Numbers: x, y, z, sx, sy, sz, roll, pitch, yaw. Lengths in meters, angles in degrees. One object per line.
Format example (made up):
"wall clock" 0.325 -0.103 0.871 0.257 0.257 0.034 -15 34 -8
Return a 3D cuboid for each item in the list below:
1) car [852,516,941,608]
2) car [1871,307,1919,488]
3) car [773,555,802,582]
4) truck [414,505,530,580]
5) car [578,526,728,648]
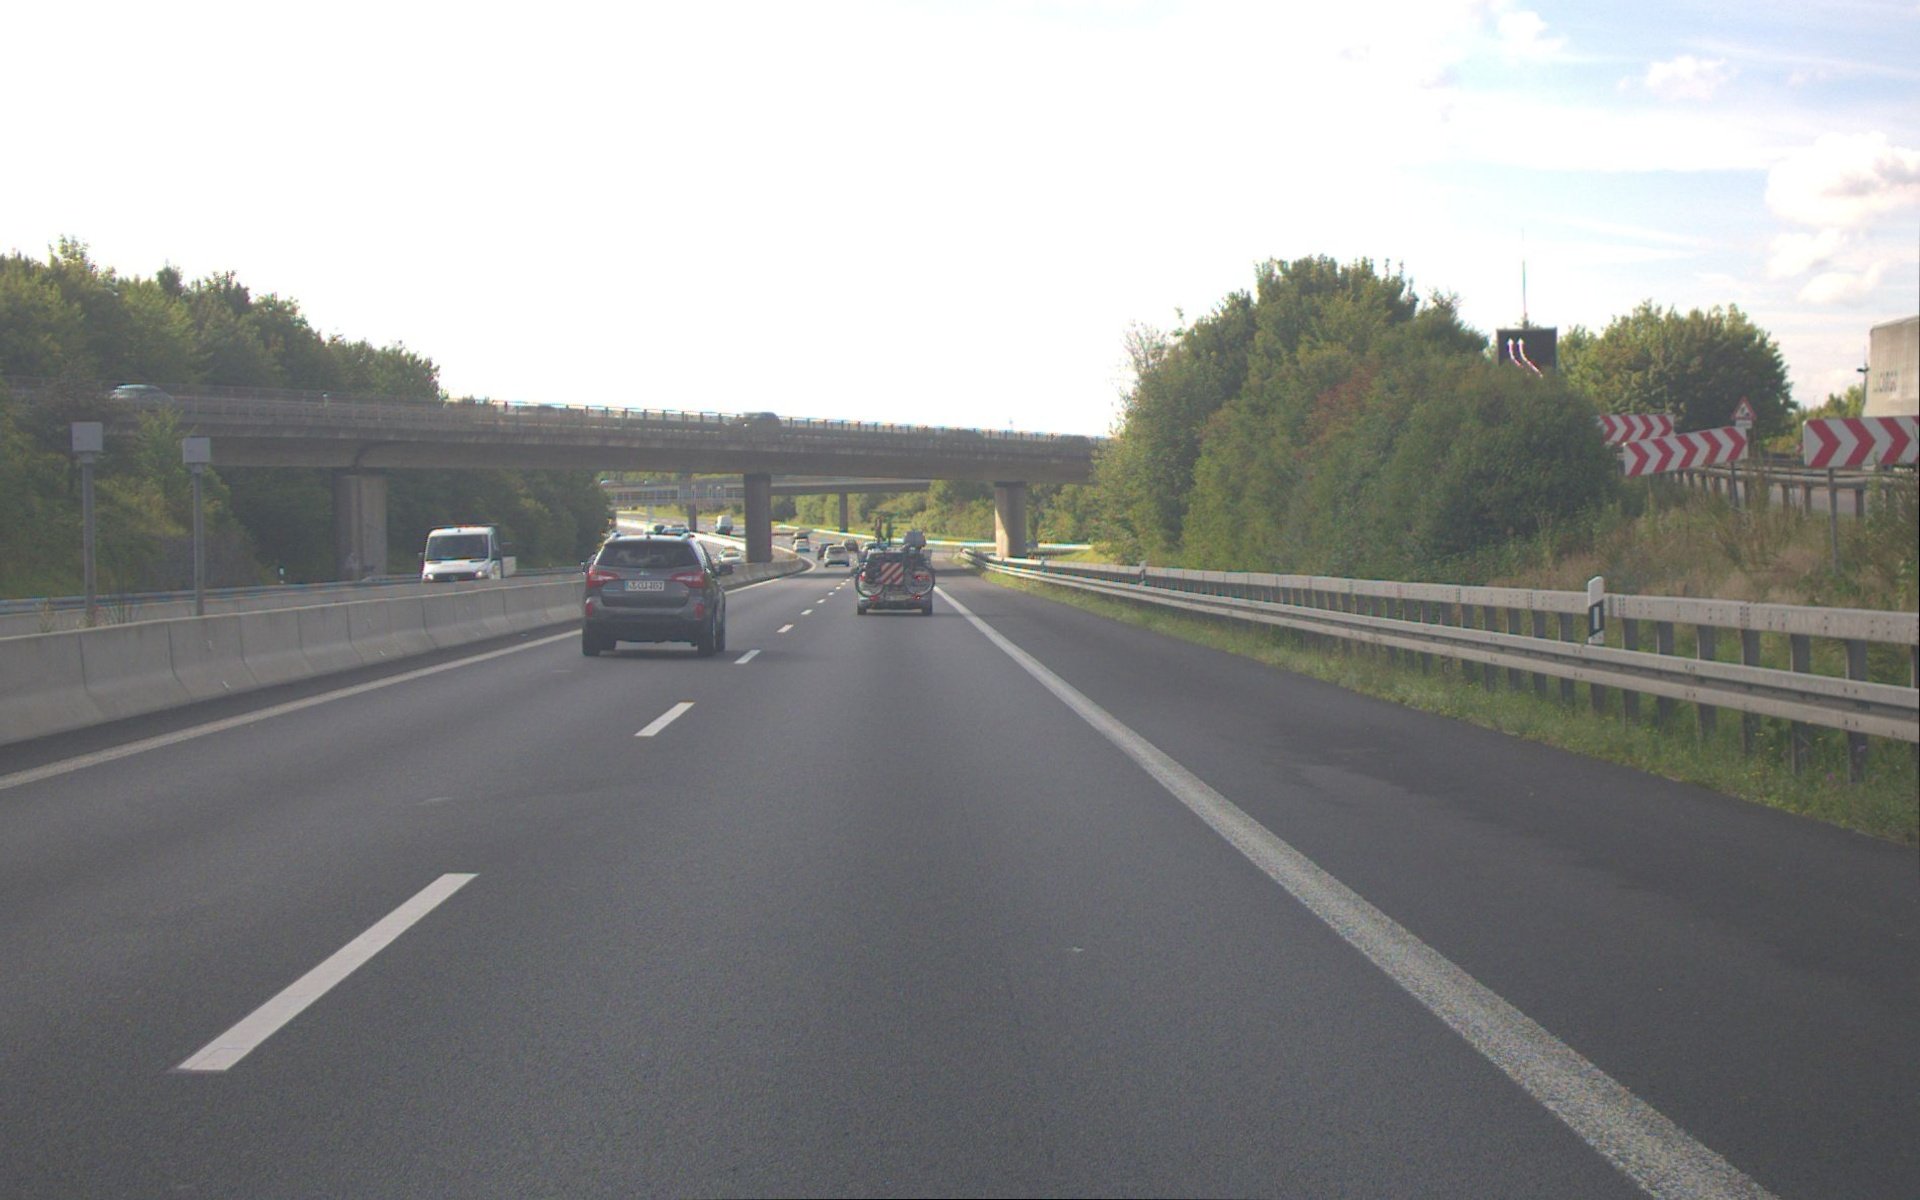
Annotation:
"car" -1.494 -0.903 81.249 1.993 2.073 4.000 -2 1 -1
"car" 21.850 -4.318 72.838 3.577 3.664 7.548 -2 1 5
"car" -12.855 -2.359 256.482 1.993 2.007 4.000 -2 1 -1
"truck" -14.065 -1.653 99.517 2.376 2.007 7.437 -2 1 -1
"car" -4.333 -0.210 48.974 1.750 1.624 3.609 -2 1 1
